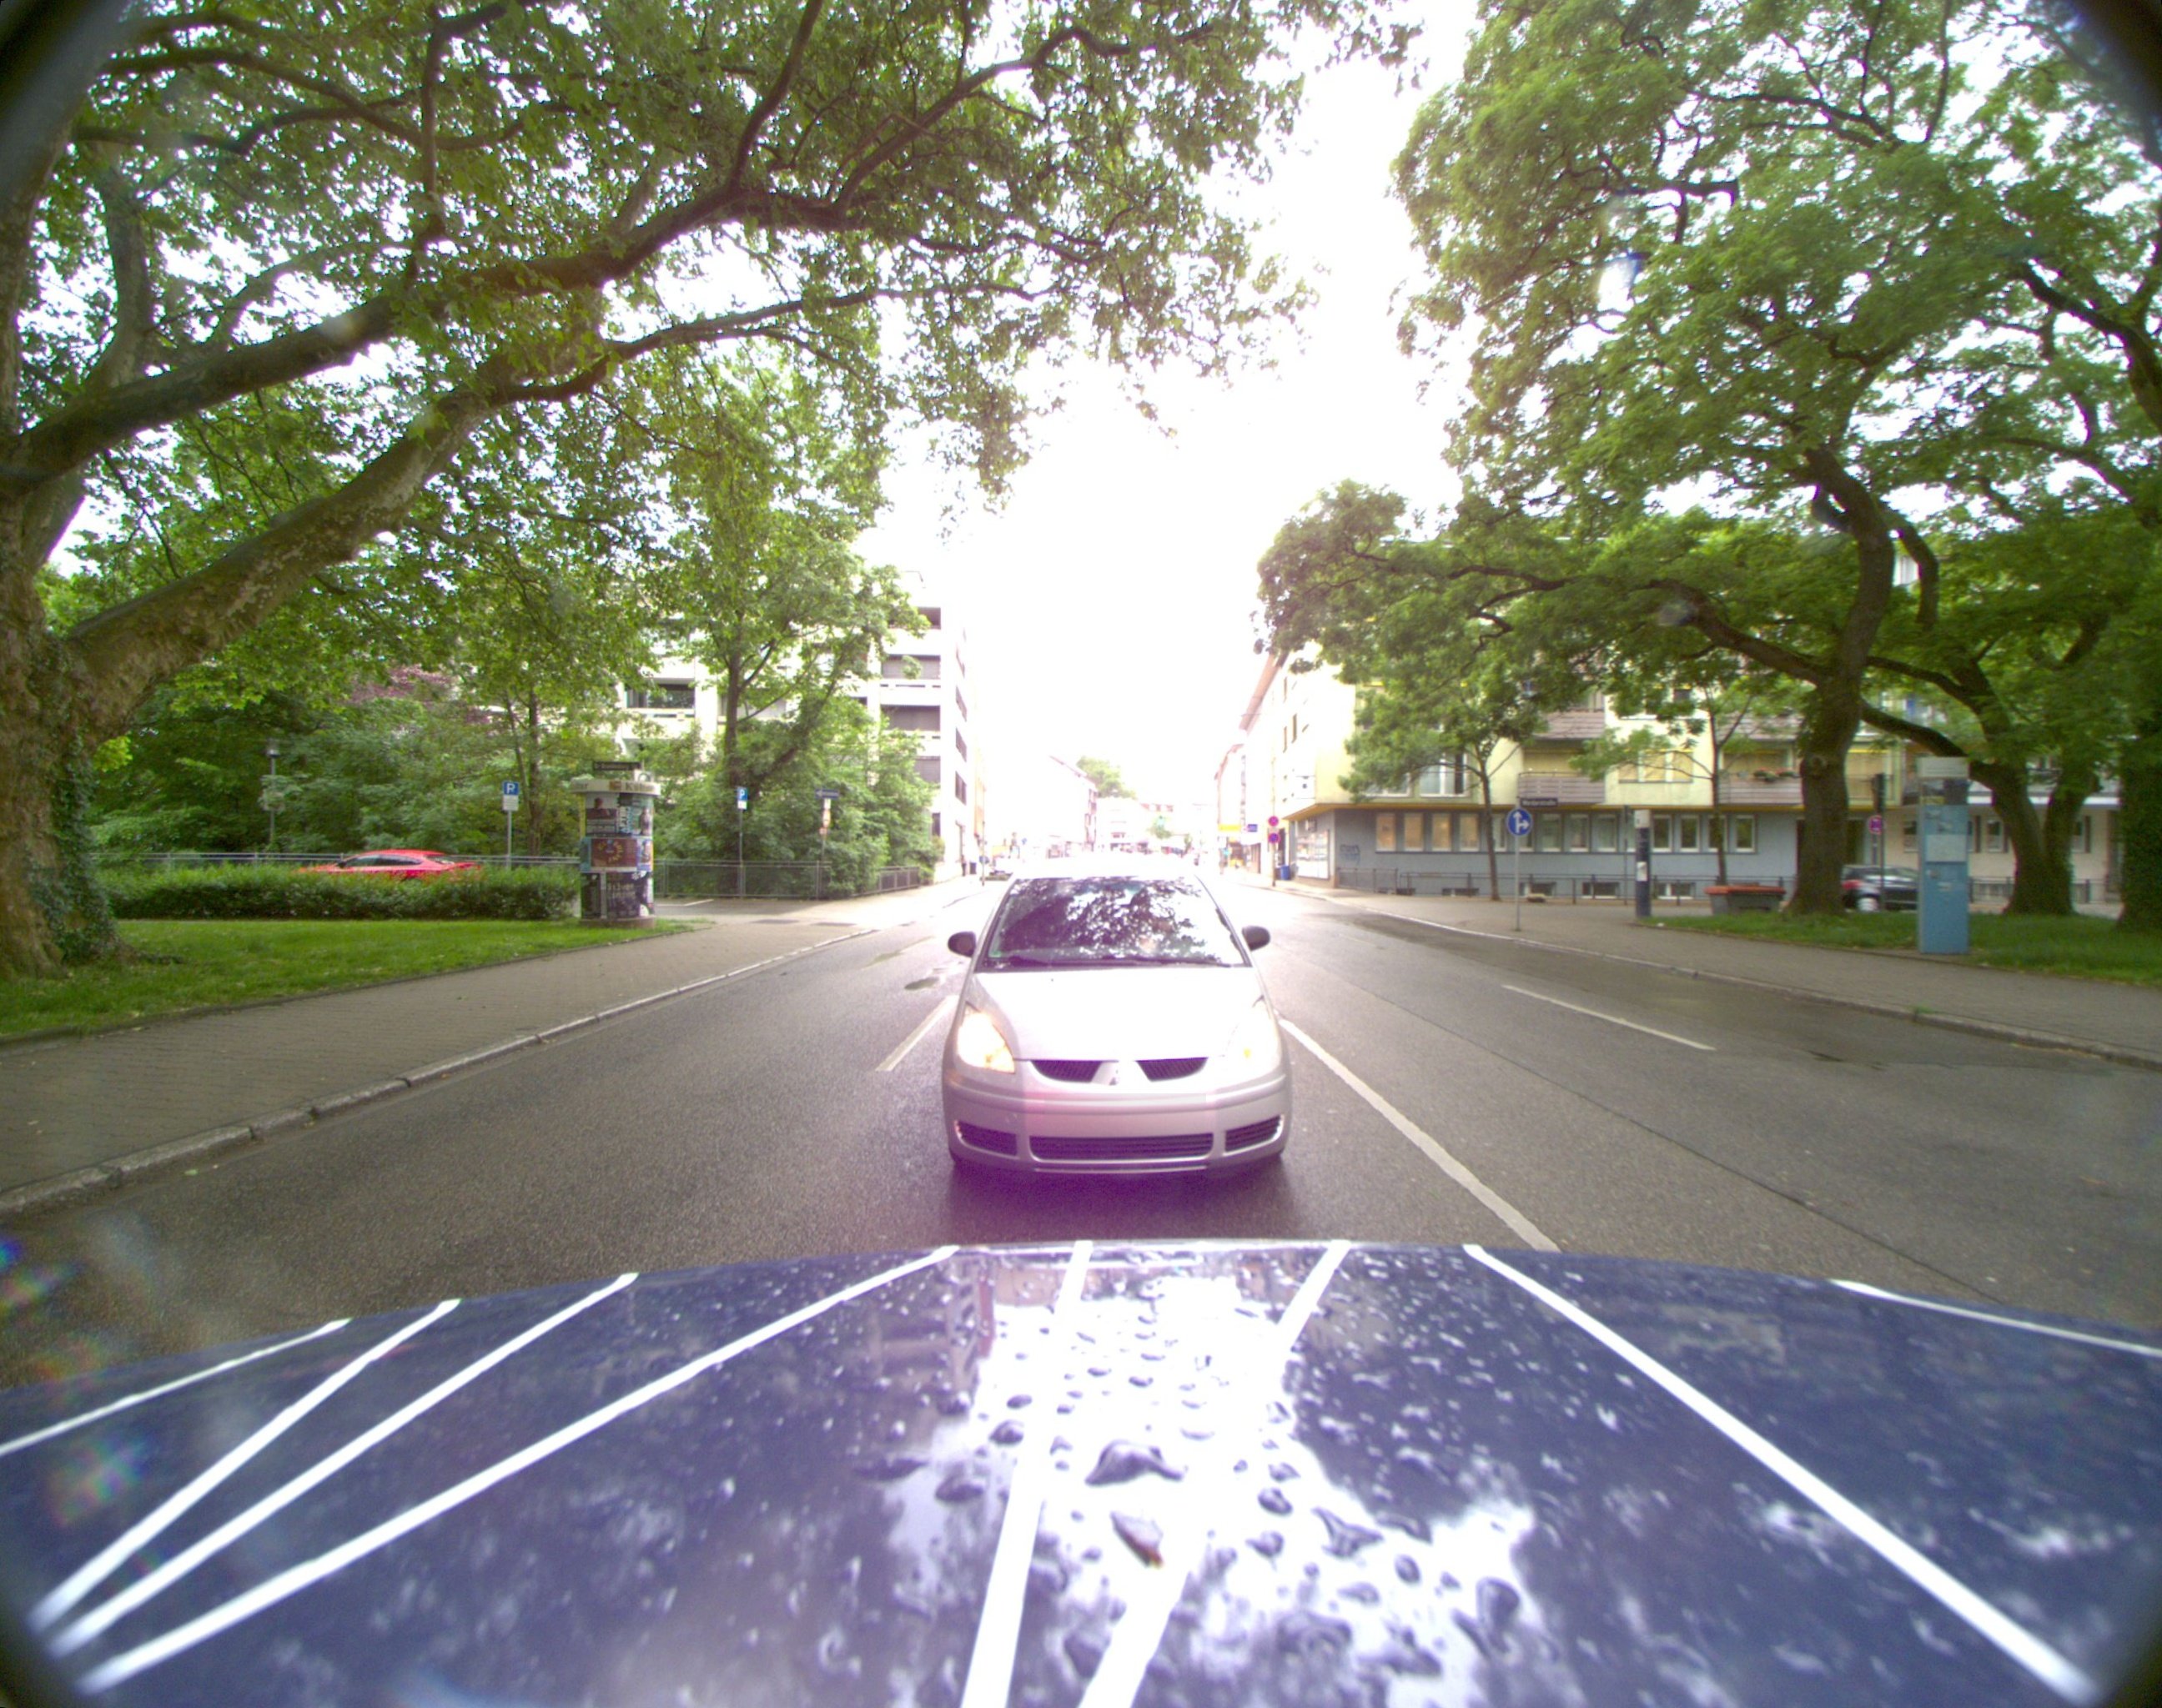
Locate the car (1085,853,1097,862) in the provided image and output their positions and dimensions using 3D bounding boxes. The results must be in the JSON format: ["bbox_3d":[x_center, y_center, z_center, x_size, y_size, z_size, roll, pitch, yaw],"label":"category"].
[{"bbox_3d":[1.570,0.551,120.017,1.802,1.433,3.897,1,0,1],"label":"car"}]

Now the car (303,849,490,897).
[{"bbox_3d":[-19.390,0.517,21.640,3.790,1.271,1.576,1,1,-3],"label":"car"}]

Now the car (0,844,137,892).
[{"bbox_3d":[-29.115,0.374,21.226,3.468,1.271,1.448,1,1,-5],"label":"car"}]

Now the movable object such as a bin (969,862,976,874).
[{"bbox_3d":[-8.994,1.166,62.934,0.556,1.035,0.292,1,1,0],"label":"movable object such as a bin"}]

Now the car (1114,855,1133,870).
[{"bbox_3d":[4.186,0.839,75.309,1.701,1.433,3.897,1,0,1],"label":"car"}]

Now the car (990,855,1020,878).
[{"bbox_3d":[-5.314,0.860,53.508,1.681,1.424,3.681,3,0,1],"label":"car"}]

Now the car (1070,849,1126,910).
[{"bbox_3d":[0.483,0.725,23.558,1.584,1.705,3.649,1,0,0],"label":"car"}]

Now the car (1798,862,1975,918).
[{"bbox_3d":[23.846,1.047,22.579,3.564,1.480,1.572,1,1,-1],"label":"car"}]

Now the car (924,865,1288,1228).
[{"bbox_3d":[0.138,0.882,4.984,1.576,1.514,3.241,-1,0,1],"label":"car"}]

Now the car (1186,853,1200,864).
[{"bbox_3d":[17.930,0.663,121.382,1.889,1.707,4.001,1,0,4],"label":"car"}]

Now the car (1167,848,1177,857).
[{"bbox_3d":[18.976,-0.390,158.530,1.998,1.841,4.001,1,0,4],"label":"car"}]

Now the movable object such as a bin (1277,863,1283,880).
[{"bbox_3d":[12.673,1.110,48.386,0.338,1.023,0.353,1,1,8],"label":"movable object such as a bin"}]

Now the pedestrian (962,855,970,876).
[{"bbox_3d":[-8.214,0.813,54.281,0.480,1.521,0.481,-2,1,1],"label":"pedestrian"}]

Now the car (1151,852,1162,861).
[{"bbox_3d":[14.311,0.403,143.738,1.998,1.631,4.001,1,0,4],"label":"car"}]

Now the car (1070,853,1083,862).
[{"bbox_3d":[-0.679,0.514,113.420,1.802,1.433,3.896,1,0,0],"label":"car"}]

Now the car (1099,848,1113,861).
[{"bbox_3d":[3.664,0.117,112.825,1.935,1.817,3.999,-2,1,0],"label":"car"}]

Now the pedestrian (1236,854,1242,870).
[{"bbox_3d":[17.644,0.886,84.808,0.594,1.833,0.565,1,1,8],"label":"pedestrian"}]

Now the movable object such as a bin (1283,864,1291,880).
[{"bbox_3d":[13.083,1.151,48.281,0.415,1.023,0.353,1,1,8],"label":"movable object such as a bin"}]

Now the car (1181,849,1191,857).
[{"bbox_3d":[21.761,-0.269,157.663,1.867,1.648,4.001,1,0,4],"label":"car"}]

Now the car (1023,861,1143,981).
[{"bbox_3d":[0.100,0.921,12.095,1.590,1.540,3.771,1,0,2],"label":"car"}]
